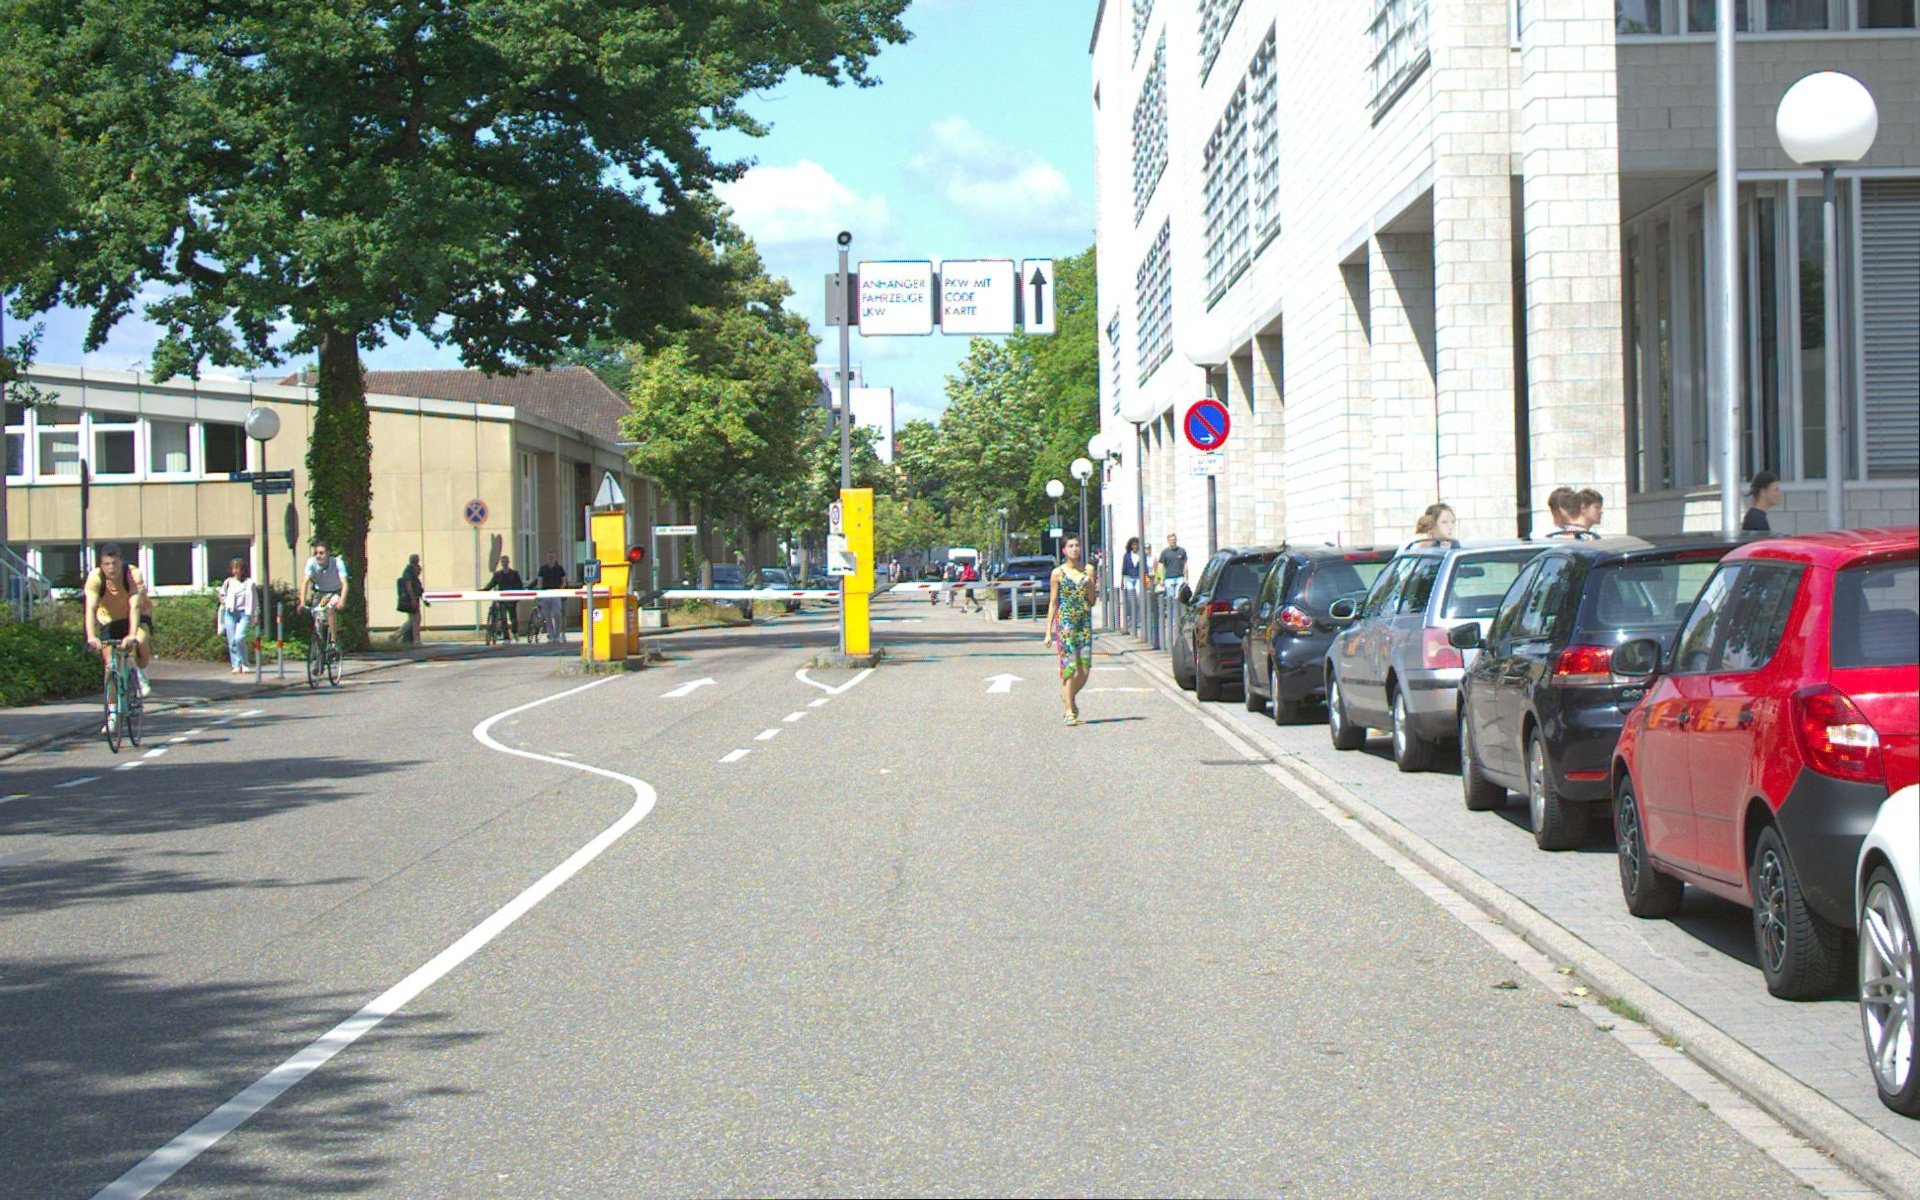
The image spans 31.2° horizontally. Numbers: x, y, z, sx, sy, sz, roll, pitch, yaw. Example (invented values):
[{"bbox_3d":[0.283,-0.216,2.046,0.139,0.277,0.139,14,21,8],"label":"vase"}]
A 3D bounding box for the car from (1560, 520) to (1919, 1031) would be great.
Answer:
[{"bbox_3d":[3.354,0.482,12.504,1.614,1.491,4.147,-3,1,1],"label":"car"}]

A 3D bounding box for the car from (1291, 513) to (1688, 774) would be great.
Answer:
[{"bbox_3d":[3.485,0.238,23.448,1.719,1.524,4.567,-3,1,-3],"label":"car"}]

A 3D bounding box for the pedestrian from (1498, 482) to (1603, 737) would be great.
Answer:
[{"bbox_3d":[4.537,0.071,26.385,0.724,1.919,0.751,-1,1,14],"label":"pedestrian"}]

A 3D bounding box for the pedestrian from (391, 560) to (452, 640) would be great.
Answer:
[{"bbox_3d":[-10.982,0.003,70.137,0.886,1.627,0.896,0,0,22],"label":"pedestrian"}]

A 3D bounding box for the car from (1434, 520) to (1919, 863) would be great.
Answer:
[{"bbox_3d":[3.568,0.395,17.655,1.719,1.524,4.000,-1,1,1],"label":"car"}]

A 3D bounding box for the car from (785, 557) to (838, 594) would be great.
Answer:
[{"bbox_3d":[-6.298,-1.056,146.274,1.993,1.540,4.212,-1,1,1],"label":"car"}]

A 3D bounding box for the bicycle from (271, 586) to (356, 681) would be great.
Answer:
[{"bbox_3d":[-8.327,0.419,44.349,0.692,1.167,2.210,-1,0,-1],"label":"bicycle"}]

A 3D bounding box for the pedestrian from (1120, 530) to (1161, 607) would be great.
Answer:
[{"bbox_3d":[3.878,-0.683,74.046,0.741,1.627,0.888,-3,1,-1],"label":"pedestrian"}]

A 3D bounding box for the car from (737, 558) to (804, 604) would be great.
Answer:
[{"bbox_3d":[-6.486,-0.662,118.138,1.993,1.540,4.212,-1,1,1],"label":"car"}]

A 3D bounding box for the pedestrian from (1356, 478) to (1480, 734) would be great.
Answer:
[{"bbox_3d":[3.489,0.044,26.171,0.784,1.919,0.593,-1,1,22],"label":"pedestrian"}]

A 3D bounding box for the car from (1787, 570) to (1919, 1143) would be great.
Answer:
[{"bbox_3d":[3.185,0.609,7.328,1.718,1.395,4.439,-3,1,0],"label":"car"}]

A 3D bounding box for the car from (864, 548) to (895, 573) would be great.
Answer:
[{"bbox_3d":[-5.851,-2.874,250.803,1.994,1.714,3.999,-1,-1,3],"label":"car"}]

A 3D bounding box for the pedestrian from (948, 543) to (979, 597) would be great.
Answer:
[{"bbox_3d":[0.119,-0.907,103.899,0.894,1.627,0.887,0,0,2],"label":"pedestrian"}]

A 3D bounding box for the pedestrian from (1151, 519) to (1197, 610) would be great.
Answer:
[{"bbox_3d":[4.286,-0.716,68.753,0.767,1.774,0.910,-3,1,-1],"label":"pedestrian"}]

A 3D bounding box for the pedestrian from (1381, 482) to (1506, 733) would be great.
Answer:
[{"bbox_3d":[3.776,0.056,26.823,0.783,1.919,0.733,-1,1,22],"label":"pedestrian"}]

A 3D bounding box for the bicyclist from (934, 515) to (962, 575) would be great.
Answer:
[{"bbox_3d":[-0.434,-1.979,123.992,0.987,2.125,1.036,-1,-1,0],"label":"bicyclist"}]

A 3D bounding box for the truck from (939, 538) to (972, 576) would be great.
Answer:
[{"bbox_3d":[-0.311,-2.806,224.109,1.993,2.263,4.616,-1,-1,-1],"label":"truck"}]

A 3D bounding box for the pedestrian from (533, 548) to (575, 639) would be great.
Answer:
[{"bbox_3d":[-8.197,-0.146,69.451,0.705,1.803,1.001,-1,1,-1],"label":"pedestrian"}]

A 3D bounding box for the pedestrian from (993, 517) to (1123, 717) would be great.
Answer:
[{"bbox_3d":[0.855,0.141,30.085,0.623,1.711,1.040,-2,1,-32],"label":"pedestrian"}]

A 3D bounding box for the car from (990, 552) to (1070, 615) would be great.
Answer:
[{"bbox_3d":[1.785,-0.447,88.792,1.993,1.540,4.212,-1,1,1],"label":"car"}]

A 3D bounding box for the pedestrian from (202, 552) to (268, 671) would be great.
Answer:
[{"bbox_3d":[-10.071,0.155,47.769,0.713,1.621,0.883,-1,1,-1],"label":"pedestrian"}]

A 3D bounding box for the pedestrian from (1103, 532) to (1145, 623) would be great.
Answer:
[{"bbox_3d":[3.276,-0.449,68.785,0.694,1.774,1.086,-3,1,-1],"label":"pedestrian"}]

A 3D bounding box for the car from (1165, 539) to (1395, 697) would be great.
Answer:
[{"bbox_3d":[3.141,0.141,34.553,1.866,1.459,4.520,-1,1,0],"label":"car"}]

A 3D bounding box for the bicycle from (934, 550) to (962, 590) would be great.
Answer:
[{"bbox_3d":[-0.441,-1.066,123.704,0.987,1.311,2.964,-1,-1,0],"label":"bicycle"}]

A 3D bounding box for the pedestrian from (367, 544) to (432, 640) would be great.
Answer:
[{"bbox_3d":[-11.255,-0.153,69.107,0.886,1.919,1.005,0,0,22],"label":"pedestrian"}]

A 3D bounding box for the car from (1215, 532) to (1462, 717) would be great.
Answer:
[{"bbox_3d":[3.240,0.177,30.047,1.614,1.491,4.007,-1,1,-1],"label":"car"}]

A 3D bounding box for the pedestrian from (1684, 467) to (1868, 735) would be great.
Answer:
[{"bbox_3d":[5.989,0.000,25.285,1.095,1.913,1.021,-1,1,1],"label":"pedestrian"}]

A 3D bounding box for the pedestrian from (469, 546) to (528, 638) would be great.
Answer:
[{"bbox_3d":[-9.317,-0.170,69.456,1.056,1.809,0.806,-1,1,-1],"label":"pedestrian"}]

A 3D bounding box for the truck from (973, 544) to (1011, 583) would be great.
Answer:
[{"bbox_3d":[1.788,-2.047,193.849,1.993,2.007,4.000,-1,-1,-1],"label":"truck"}]

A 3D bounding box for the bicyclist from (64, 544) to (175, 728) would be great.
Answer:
[{"bbox_3d":[-7.235,0.301,29.628,0.692,1.543,1.018,-1,0,-1],"label":"bicyclist"}]

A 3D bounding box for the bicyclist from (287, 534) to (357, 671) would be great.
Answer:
[{"bbox_3d":[-8.205,0.028,44.236,0.692,1.731,0.919,-1,0,-1],"label":"bicyclist"}]

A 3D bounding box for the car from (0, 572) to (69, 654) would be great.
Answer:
[{"bbox_3d":[-18.300,0.236,65.015,1.829,1.462,4.299,-1,1,-1],"label":"car"}]

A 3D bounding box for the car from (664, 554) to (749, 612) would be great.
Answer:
[{"bbox_3d":[-7.068,-0.491,96.191,1.993,1.540,4.212,-1,1,1],"label":"car"}]

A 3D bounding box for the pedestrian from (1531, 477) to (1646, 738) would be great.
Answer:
[{"bbox_3d":[4.692,0.053,25.696,0.723,1.919,0.593,-1,1,0],"label":"pedestrian"}]

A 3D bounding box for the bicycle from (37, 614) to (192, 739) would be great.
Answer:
[{"bbox_3d":[-7.226,0.637,29.491,0.793,0.985,2.210,-1,0,-1],"label":"bicycle"}]
